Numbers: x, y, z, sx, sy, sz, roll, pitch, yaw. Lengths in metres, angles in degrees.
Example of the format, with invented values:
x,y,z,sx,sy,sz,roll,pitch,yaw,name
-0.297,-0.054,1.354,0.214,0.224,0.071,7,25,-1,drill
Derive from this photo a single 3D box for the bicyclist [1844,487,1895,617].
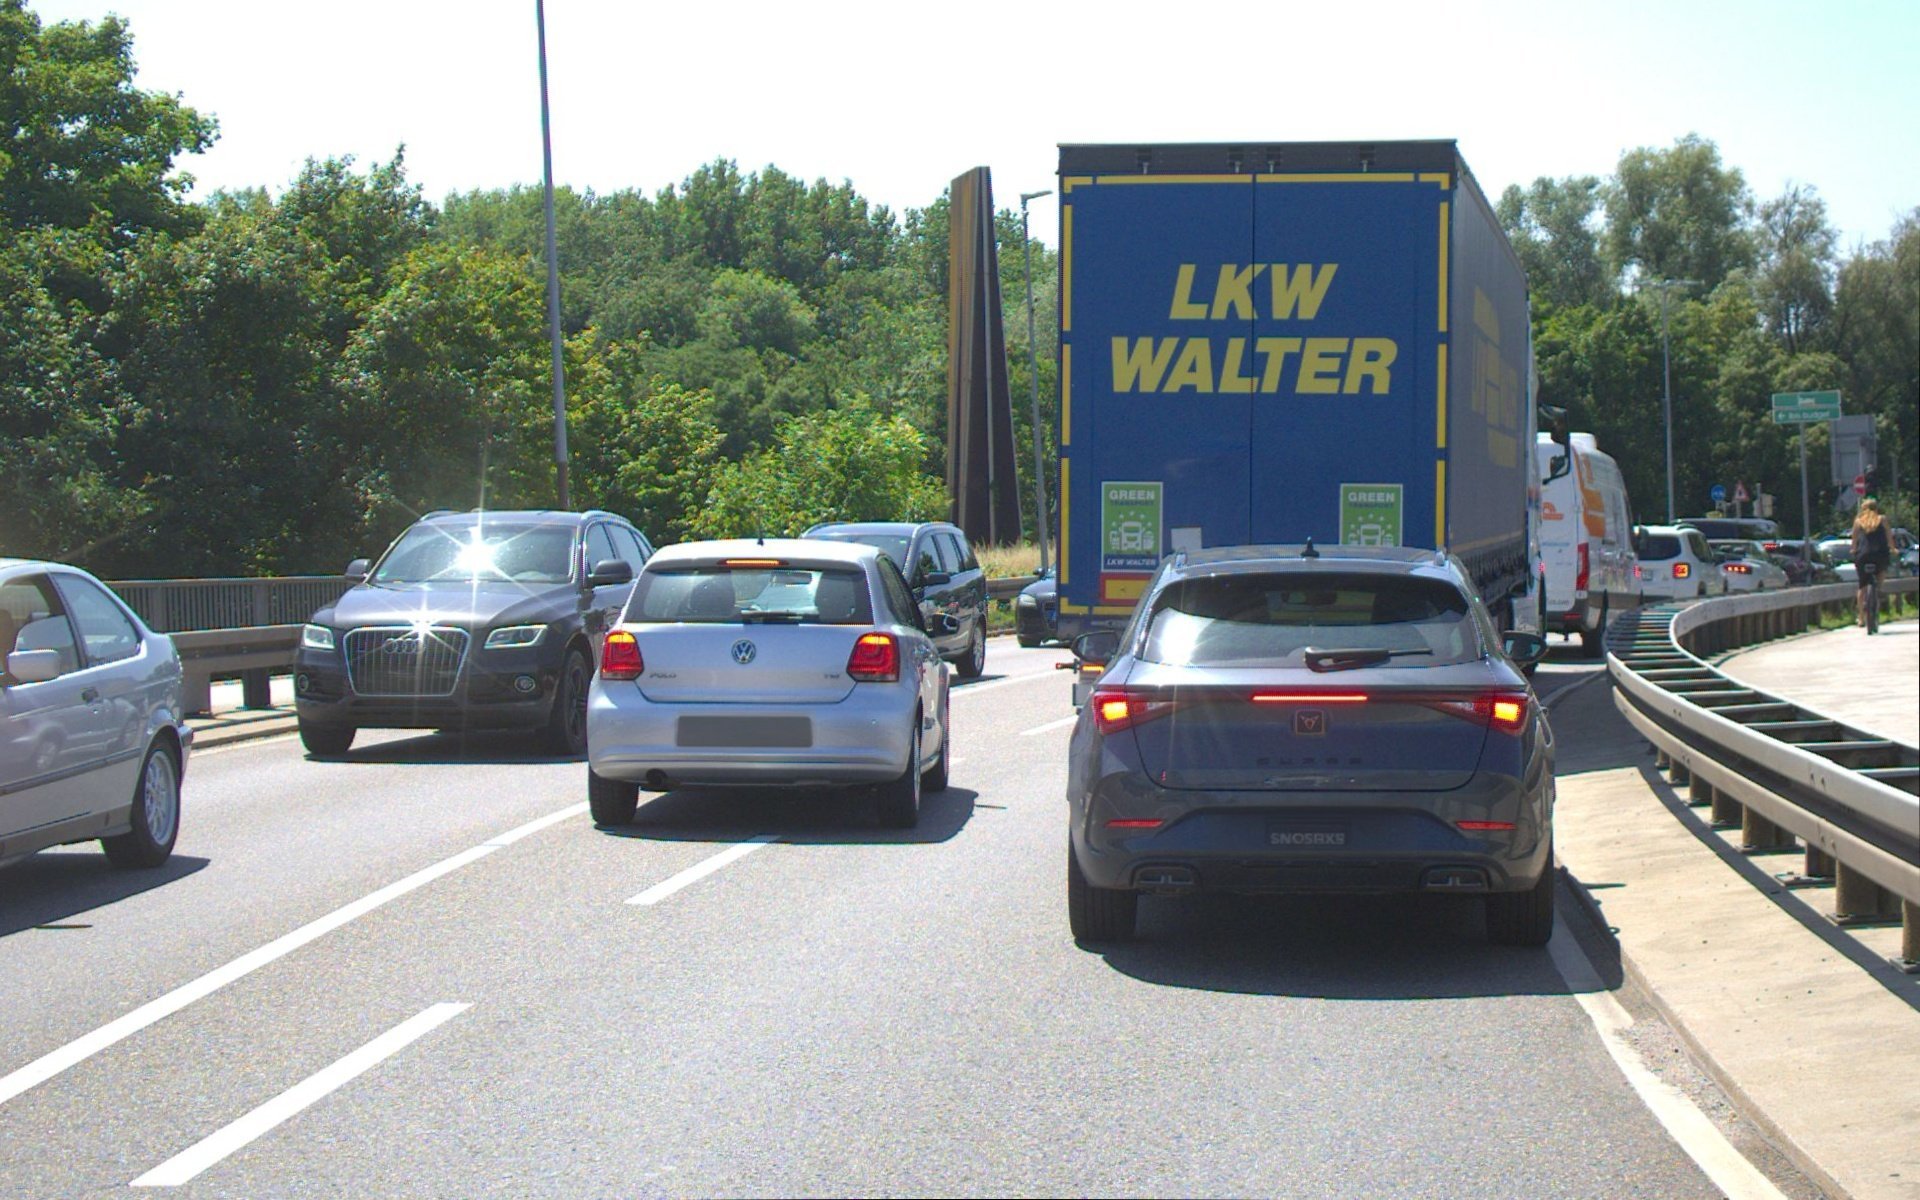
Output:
x,y,z,sx,sy,sz,roll,pitch,yaw,name
11.915,-0.631,45.049,0.578,1.677,0.729,-2,1,14,bicyclist

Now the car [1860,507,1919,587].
x,y,z,sx,sy,sz,roll,pitch,yaw,name
21.663,-1.187,77.612,1.688,1.754,3.994,1,1,28,car

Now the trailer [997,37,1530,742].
x,y,z,sx,sy,sz,roll,pitch,yaw,name
2.909,-1.484,27.895,2.906,4.403,12.427,1,2,11,trailer

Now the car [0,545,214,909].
x,y,z,sx,sy,sz,roll,pitch,yaw,name
-4.412,0.470,13.770,1.697,1.371,4.000,0,1,4,car

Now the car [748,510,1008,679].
x,y,z,sx,sy,sz,roll,pitch,yaw,name
-0.768,-0.107,35.167,1.707,1.620,4.251,0,1,12,car

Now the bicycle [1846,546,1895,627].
x,y,z,sx,sy,sz,roll,pitch,yaw,name
11.946,-0.185,45.133,0.582,1.032,1.484,-2,0,14,bicycle

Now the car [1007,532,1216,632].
x,y,z,sx,sy,sz,roll,pitch,yaw,name
2.117,-0.275,46.980,1.680,1.304,3.969,1,1,21,car

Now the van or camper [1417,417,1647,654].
x,y,z,sx,sy,sz,roll,pitch,yaw,name
7.417,-0.851,44.043,2.156,2.806,6.382,1,1,16,van or camper

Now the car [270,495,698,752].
x,y,z,sx,sy,sz,roll,pitch,yaw,name
-3.232,0.102,24.234,1.802,1.635,4.299,0,1,9,car

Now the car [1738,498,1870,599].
x,y,z,sx,sy,sz,roll,pitch,yaw,name
16.024,-0.992,65.145,1.723,1.837,3.995,1,2,24,car

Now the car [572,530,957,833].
x,y,z,sx,sy,sz,roll,pitch,yaw,name
-0.947,0.352,18.569,1.677,1.406,3.975,1,2,2,car

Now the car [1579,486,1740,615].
x,y,z,sx,sy,sz,roll,pitch,yaw,name
10.516,-0.775,51.515,1.722,1.837,3.996,1,2,21,car

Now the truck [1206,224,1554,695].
x,y,z,sx,sy,sz,roll,pitch,yaw,name
4.499,-1.413,35.667,2.906,4.403,6.552,1,1,12,truck

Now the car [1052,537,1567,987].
x,y,z,sx,sy,sz,roll,pitch,yaw,name
1.306,0.495,13.321,1.677,1.451,3.958,1,1,5,car

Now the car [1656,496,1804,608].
x,y,z,sx,sy,sz,roll,pitch,yaw,name
12.939,-0.829,57.638,1.723,1.796,3.995,1,2,23,car

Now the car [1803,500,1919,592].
x,y,z,sx,sy,sz,roll,pitch,yaw,name
18.723,-1.146,71.287,1.723,1.837,3.995,1,2,24,car
